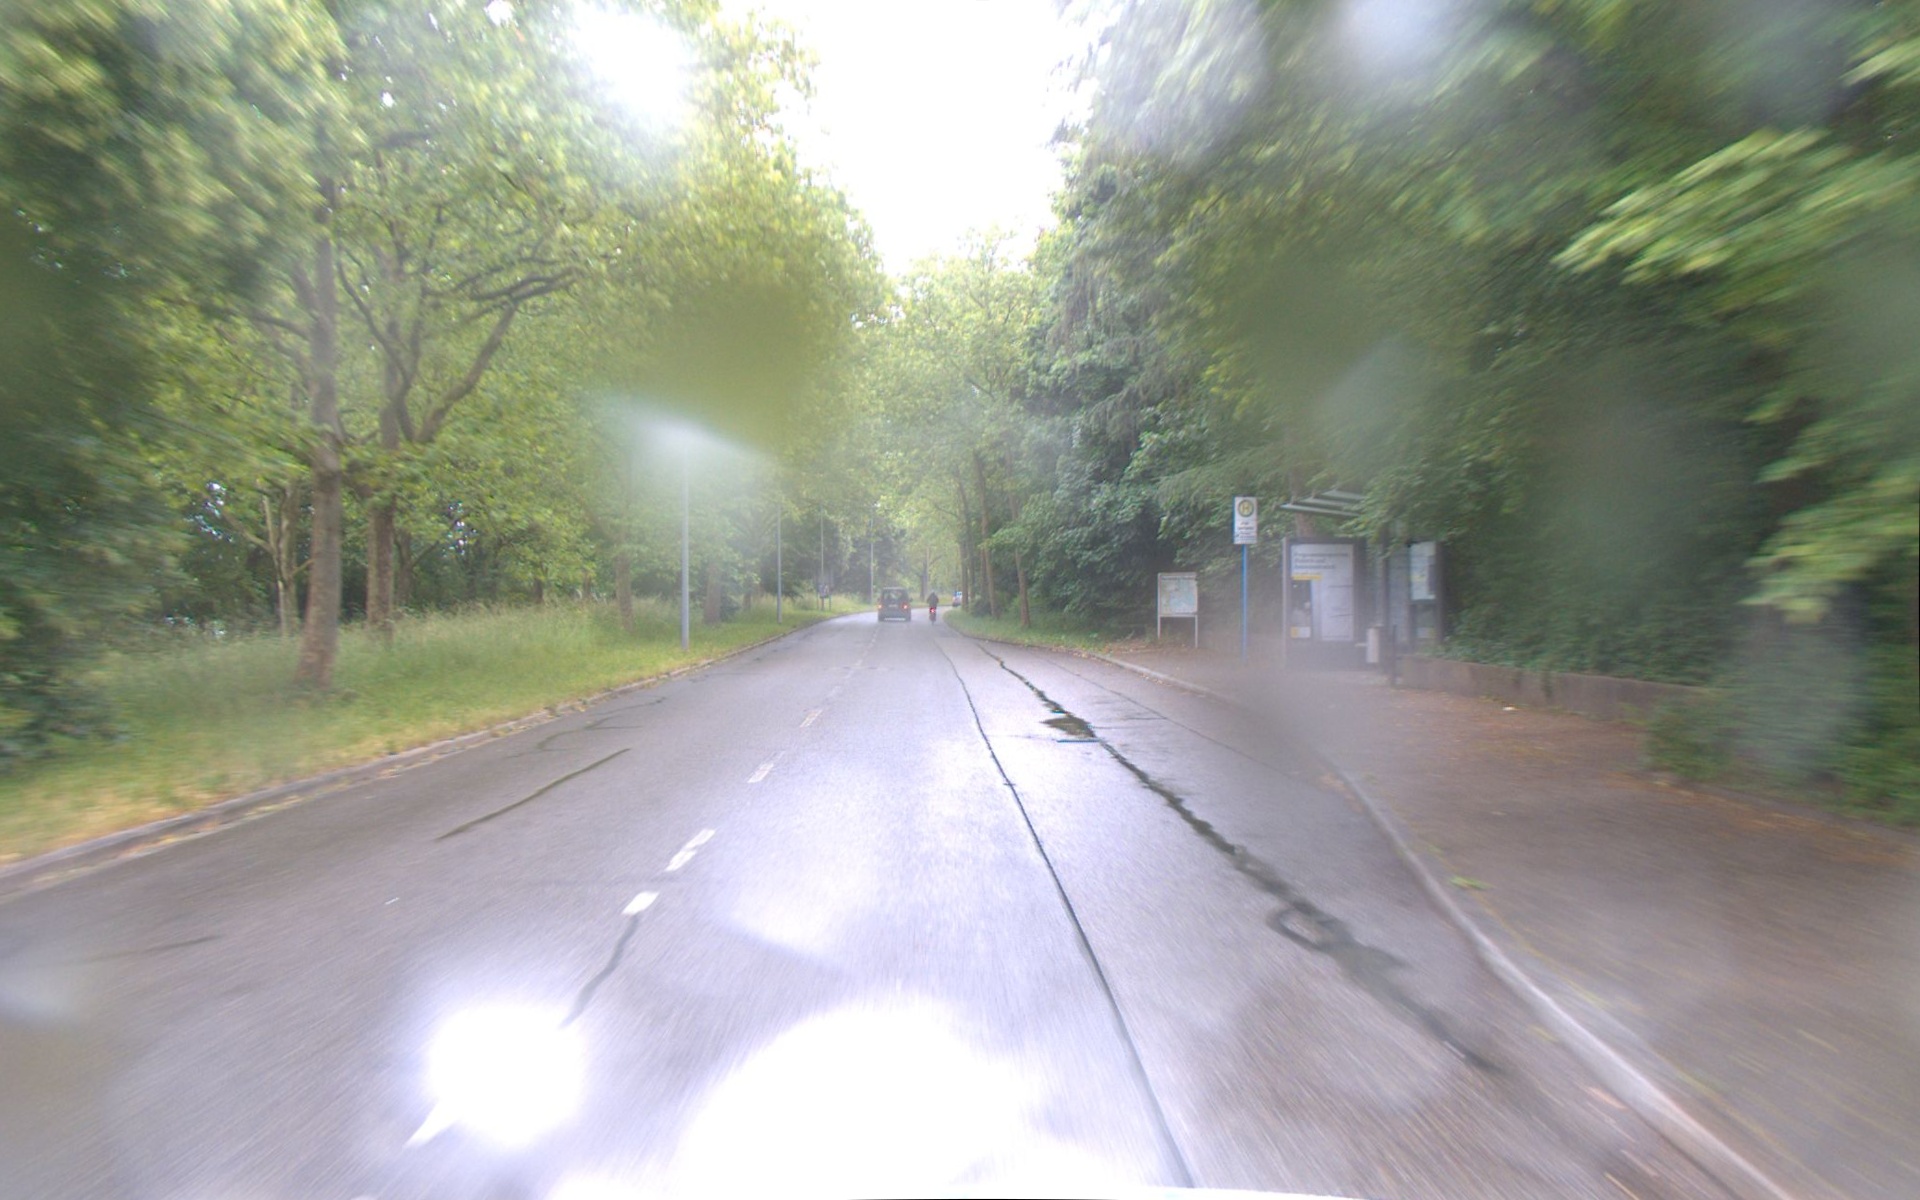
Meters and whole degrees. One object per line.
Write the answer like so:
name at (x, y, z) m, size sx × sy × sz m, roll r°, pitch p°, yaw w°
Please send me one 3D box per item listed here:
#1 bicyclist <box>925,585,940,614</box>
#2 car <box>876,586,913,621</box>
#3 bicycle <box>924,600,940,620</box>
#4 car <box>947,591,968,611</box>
bicyclist at (-1.412, -0.011, 84.534) m, size 0.714 × 1.435 × 0.973 m, roll 1°, pitch 0°, yaw 1°
car at (-3.721, 0.189, 93.079) m, size 1.946 × 1.959 × 3.996 m, roll 0°, pitch 0°, yaw -4°
bicycle at (-1.424, 0.491, 84.519) m, size 0.714 × 0.991 × 2.173 m, roll 1°, pitch 0°, yaw 1°
car at (-0.260, 0.089, 163.014) m, size 1.953 × 1.847 × 3.998 m, roll 1°, pitch -1°, yaw -2°
